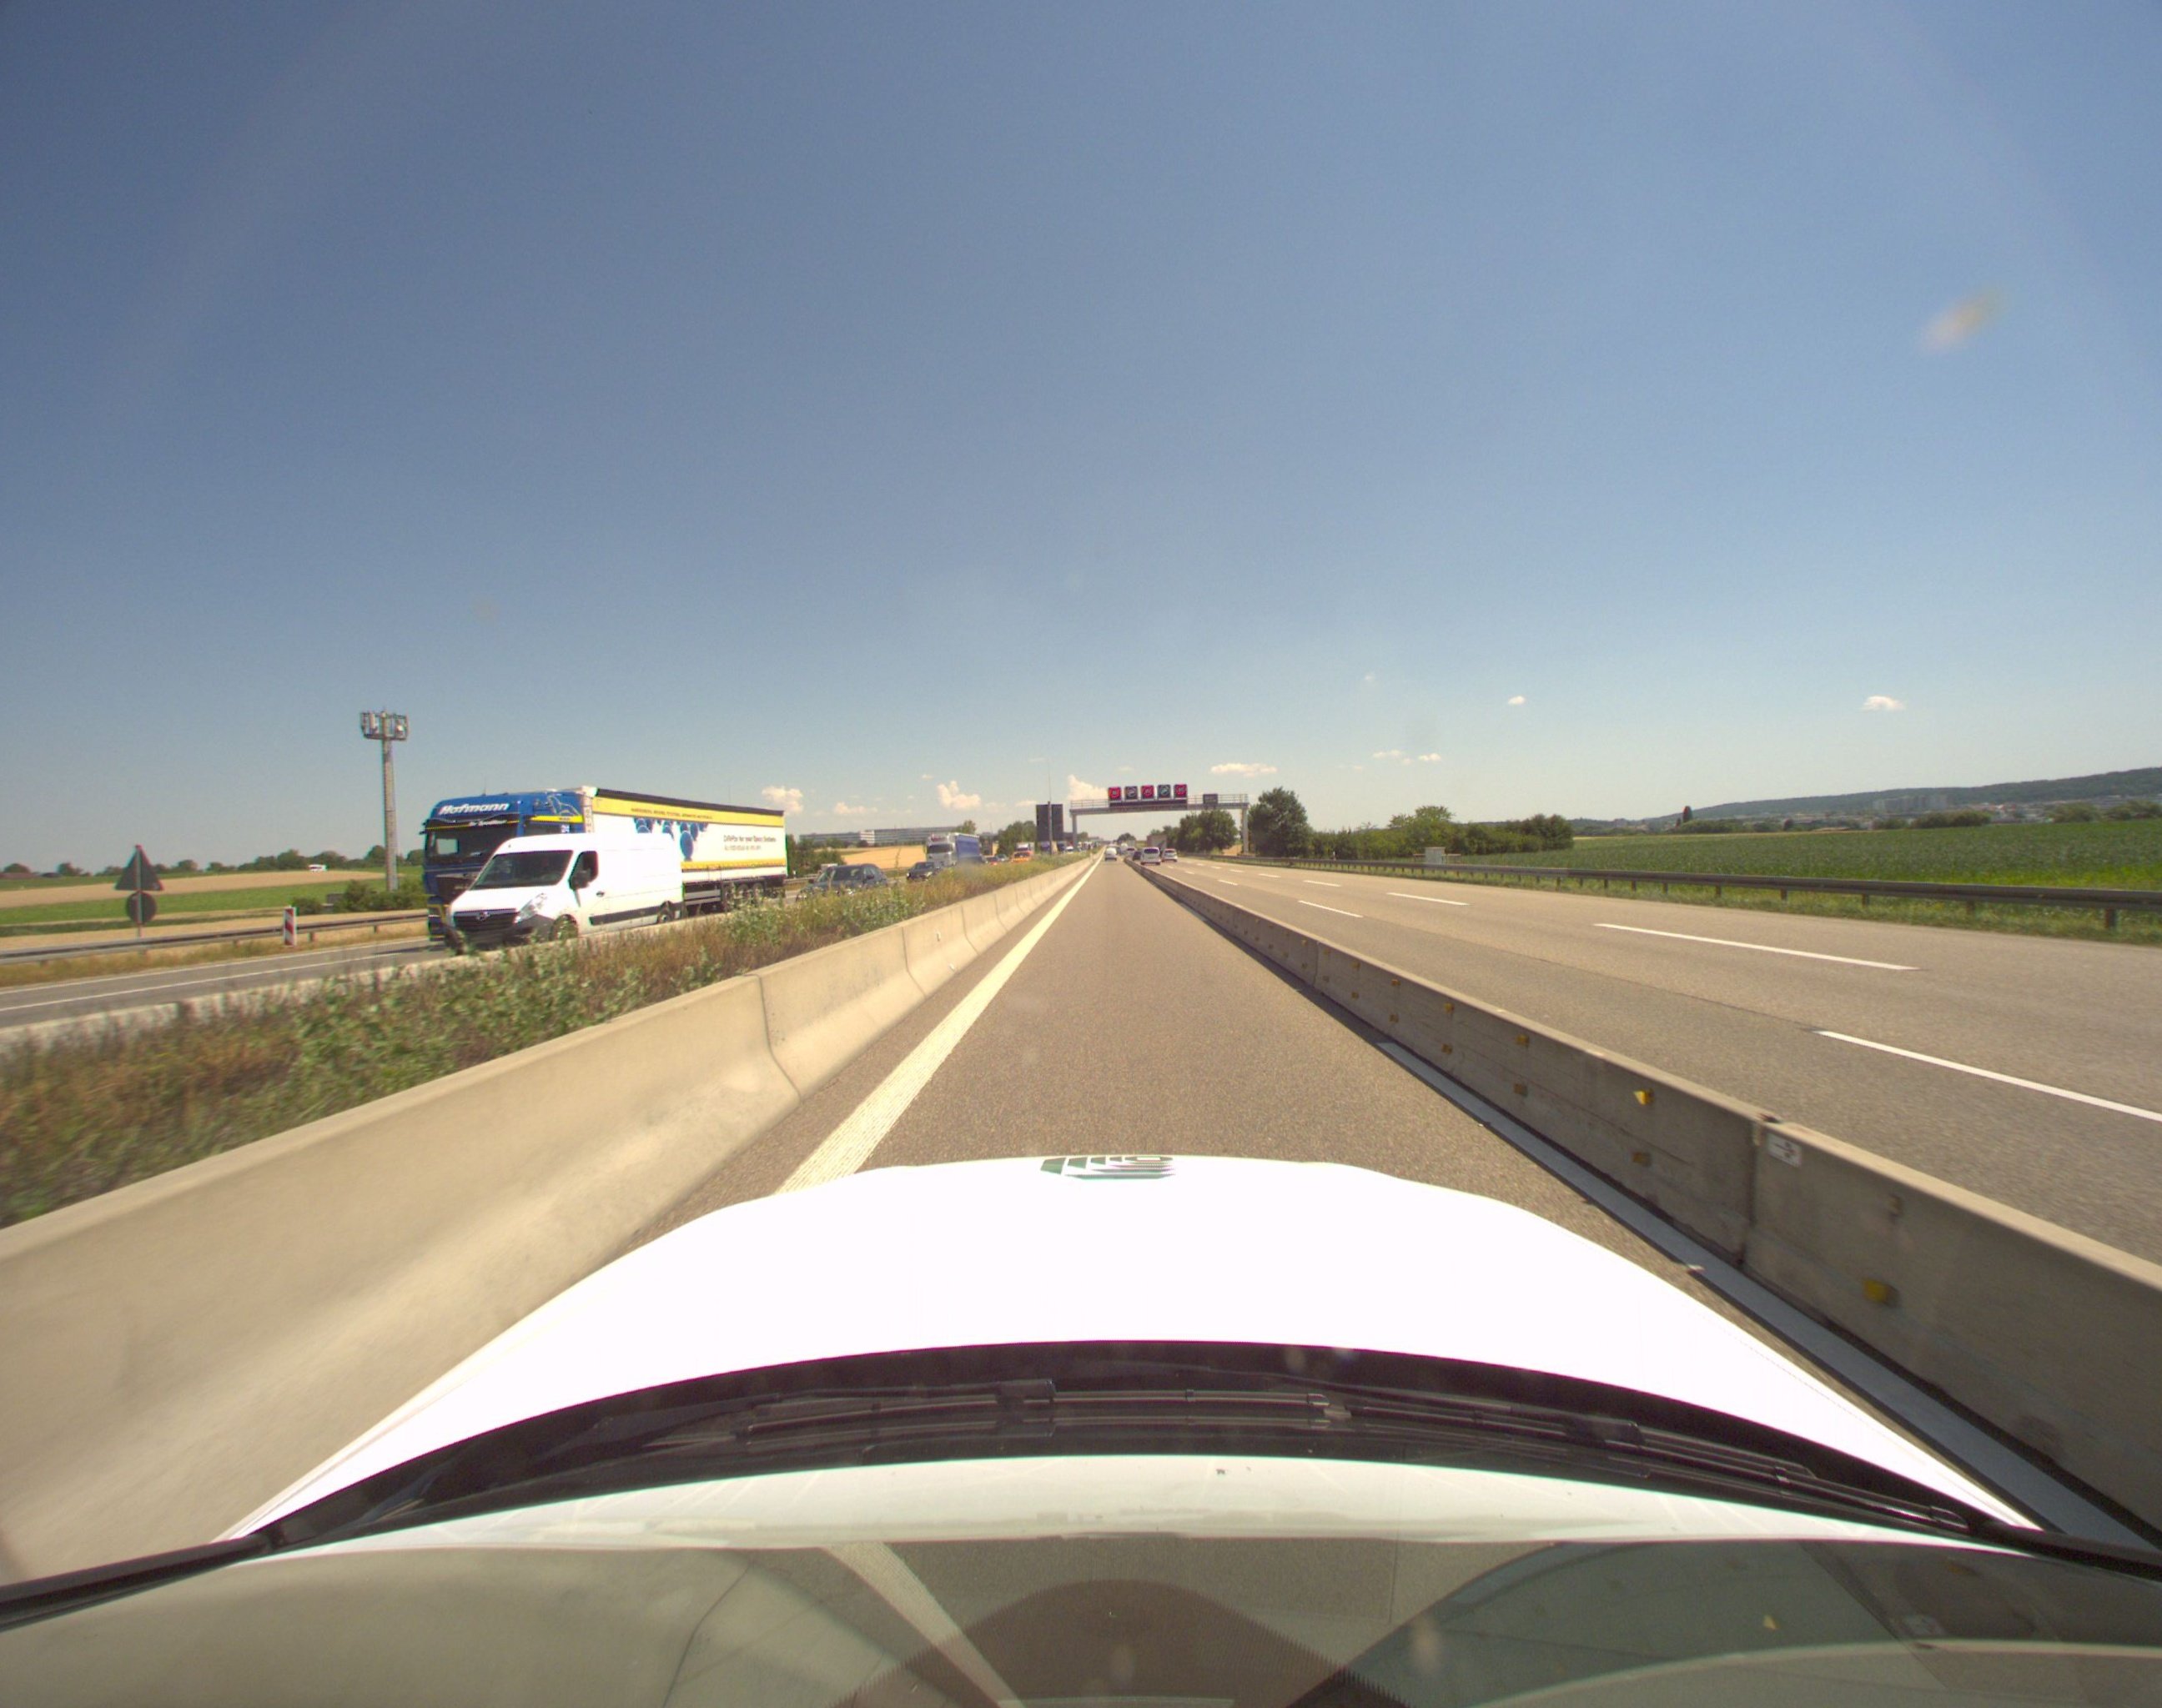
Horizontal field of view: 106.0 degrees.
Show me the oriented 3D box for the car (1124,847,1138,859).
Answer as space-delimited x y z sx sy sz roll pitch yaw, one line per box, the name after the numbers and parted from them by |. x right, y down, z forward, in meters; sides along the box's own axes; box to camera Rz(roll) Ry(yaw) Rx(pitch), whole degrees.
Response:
6.856 -0.126 111.714 1.767 1.447 4.001 -1 -1 2 | car

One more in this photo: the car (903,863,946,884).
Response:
-9.792 1.217 51.305 1.741 1.266 4.435 -1 -1 1 | car

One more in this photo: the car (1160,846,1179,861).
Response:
11.224 -0.084 103.286 1.986 1.794 4.001 -1 -1 2 | car

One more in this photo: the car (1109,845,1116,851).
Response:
9.823 -1.839 254.257 1.986 1.835 4.002 -1 0 2 | car

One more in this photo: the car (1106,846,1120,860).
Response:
4.614 -0.114 118.024 1.986 2.014 4.001 -1 -1 2 | car

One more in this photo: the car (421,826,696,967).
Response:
-10.941 0.764 17.809 2.039 2.501 5.814 -2 0 1 | car

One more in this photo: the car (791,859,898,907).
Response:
-7.246 0.865 25.471 1.772 1.335 4.931 -1 -1 1 | car

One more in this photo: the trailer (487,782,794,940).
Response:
-14.389 0.155 29.054 2.799 4.128 14.134 -2 0 1 | trailer

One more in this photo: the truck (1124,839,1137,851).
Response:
15.878 -2.885 263.974 3.802 3.904 9.583 -2 0 1 | truck

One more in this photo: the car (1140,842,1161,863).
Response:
7.293 -0.151 85.595 1.986 2.120 4.001 -1 -1 2 | car

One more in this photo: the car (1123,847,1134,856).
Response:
8.471 -0.388 145.960 1.767 1.447 4.001 -1 -1 2 | car

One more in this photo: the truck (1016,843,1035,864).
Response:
-10.198 -0.133 149.783 2.687 3.587 4.003 -3 0 3 | truck

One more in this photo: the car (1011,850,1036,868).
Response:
-5.325 0.460 75.797 1.887 1.578 4.937 -1 -1 1 | car

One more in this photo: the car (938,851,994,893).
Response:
-5.992 0.870 42.922 1.985 2.013 4.689 -2 0 3 | car

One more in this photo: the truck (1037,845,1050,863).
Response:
-9.218 0.071 201.403 2.583 4.238 4.856 -4 0 1 | truck

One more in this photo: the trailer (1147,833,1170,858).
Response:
13.178 -1.445 138.807 3.265 3.967 9.116 -1 -1 2 | trailer

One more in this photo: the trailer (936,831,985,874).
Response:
-12.492 -0.163 85.786 2.377 4.086 14.105 -2 0 2 | trailer

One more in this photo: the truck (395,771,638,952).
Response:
-14.593 0.164 21.565 2.800 4.128 4.843 -2 0 1 | truck

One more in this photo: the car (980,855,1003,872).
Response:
-8.839 0.925 80.616 1.582 1.508 4.231 -2 0 2 | car

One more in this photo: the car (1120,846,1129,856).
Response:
10.134 -0.698 189.984 1.767 2.392 4.001 -1 -1 2 | car

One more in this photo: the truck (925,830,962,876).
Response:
-12.891 -0.123 76.709 2.402 4.086 4.662 -2 0 2 | truck
